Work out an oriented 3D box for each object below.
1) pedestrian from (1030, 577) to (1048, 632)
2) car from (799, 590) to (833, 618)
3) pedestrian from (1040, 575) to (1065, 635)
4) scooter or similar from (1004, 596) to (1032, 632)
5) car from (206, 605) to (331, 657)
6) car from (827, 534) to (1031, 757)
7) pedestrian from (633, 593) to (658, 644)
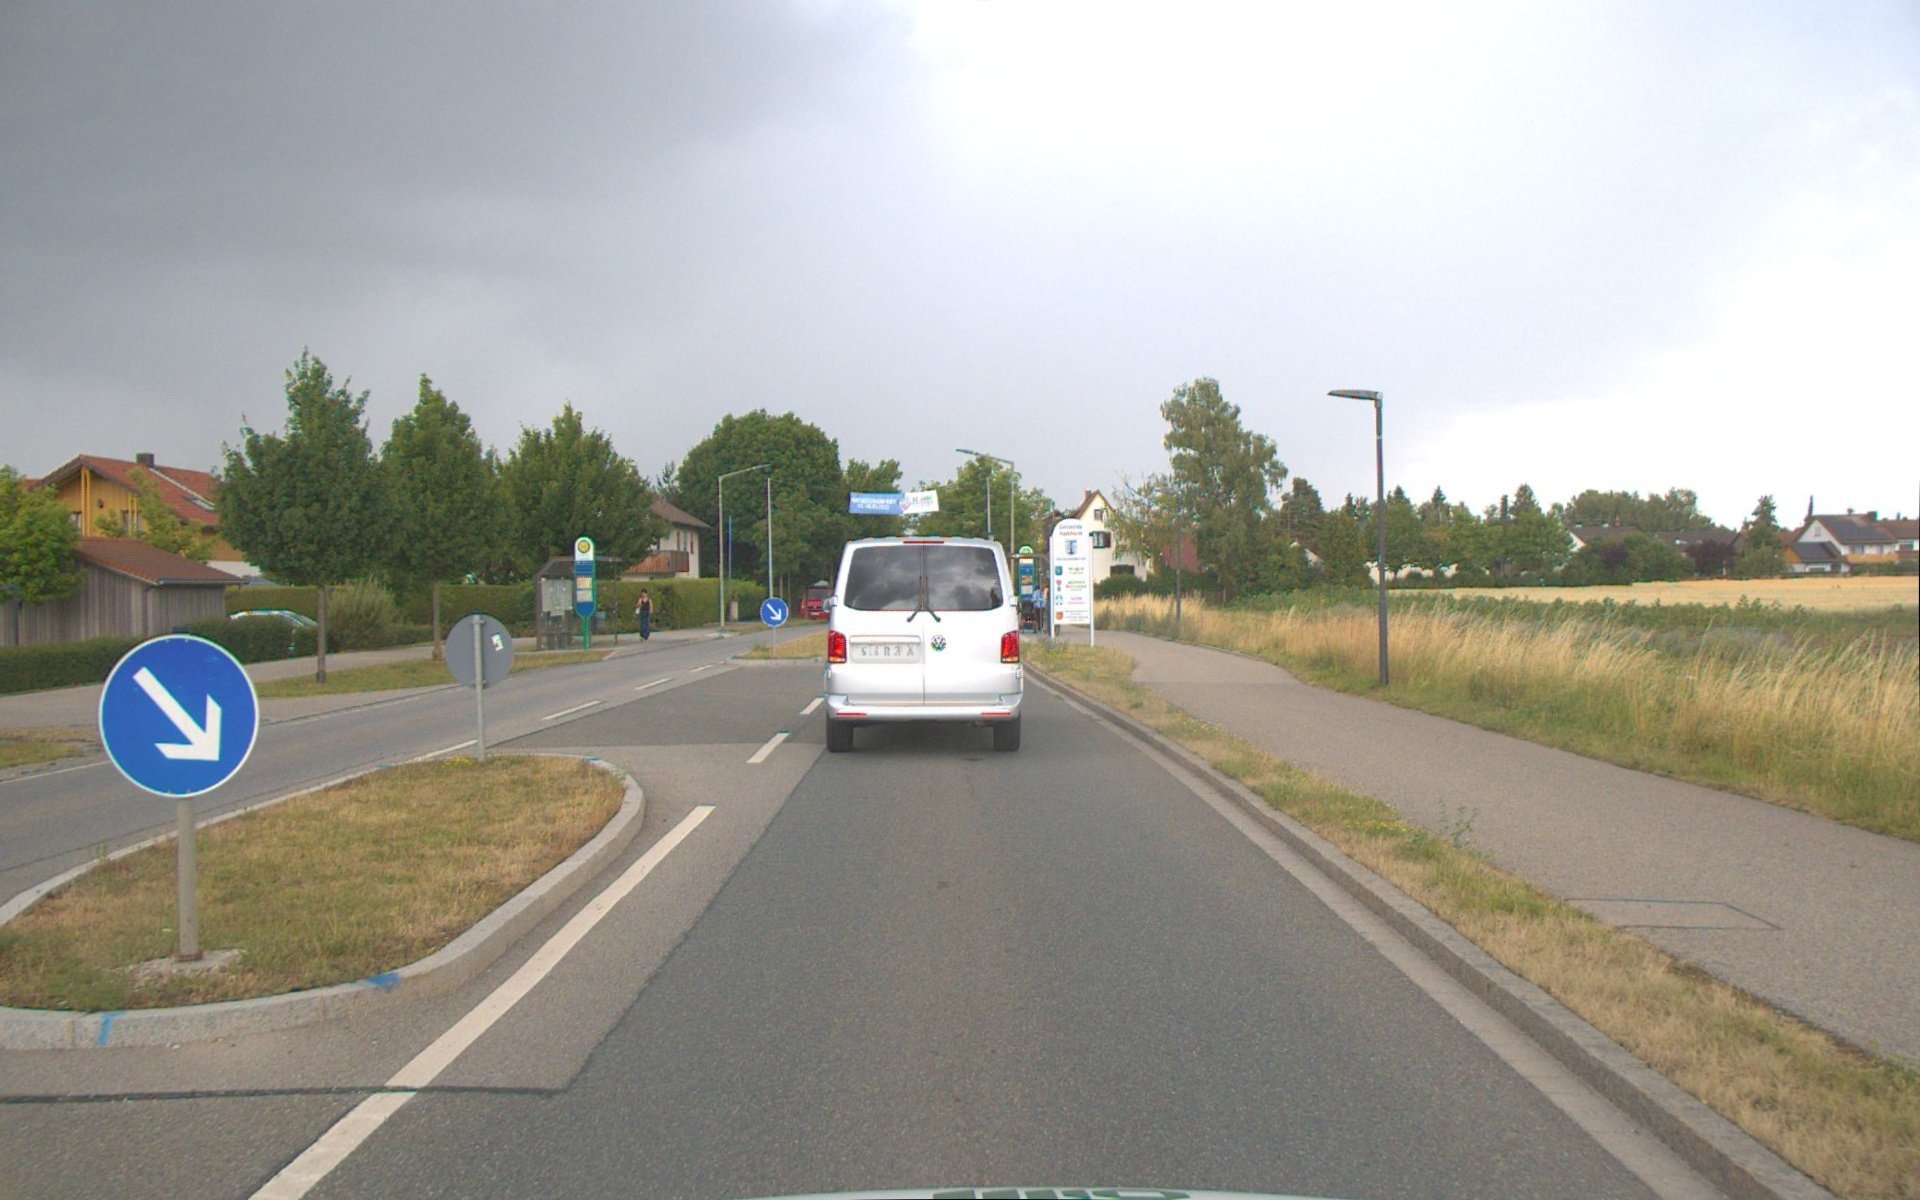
[{"bbox_3d":[2.577,0.149,54.193,0.475,1.762,0.642,-3,0,-2],"label":"pedestrian"},{"bbox_3d":[-8.295,0.207,95.386,1.620,1.454,3.601,-3,1,-1],"label":"car"},{"bbox_3d":[2.788,0.151,49.772,0.626,1.762,0.487,-3,0,10],"label":"pedestrian"},{"bbox_3d":[1.907,0.465,54.337,0.831,1.123,1.094,-3,1,-1],"label":"scooter or similar"},{"bbox_3d":[-23.556,1.034,56.434,3.520,1.555,1.658,-3,1,-4],"label":"car"},{"bbox_3d":[-0.348,0.375,16.490,1.789,1.947,3.998,0,1,-2],"label":"car"},{"bbox_3d":[-9.969,0.580,52.493,0.611,1.551,0.679,-3,0,-1],"label":"pedestrian"}]
